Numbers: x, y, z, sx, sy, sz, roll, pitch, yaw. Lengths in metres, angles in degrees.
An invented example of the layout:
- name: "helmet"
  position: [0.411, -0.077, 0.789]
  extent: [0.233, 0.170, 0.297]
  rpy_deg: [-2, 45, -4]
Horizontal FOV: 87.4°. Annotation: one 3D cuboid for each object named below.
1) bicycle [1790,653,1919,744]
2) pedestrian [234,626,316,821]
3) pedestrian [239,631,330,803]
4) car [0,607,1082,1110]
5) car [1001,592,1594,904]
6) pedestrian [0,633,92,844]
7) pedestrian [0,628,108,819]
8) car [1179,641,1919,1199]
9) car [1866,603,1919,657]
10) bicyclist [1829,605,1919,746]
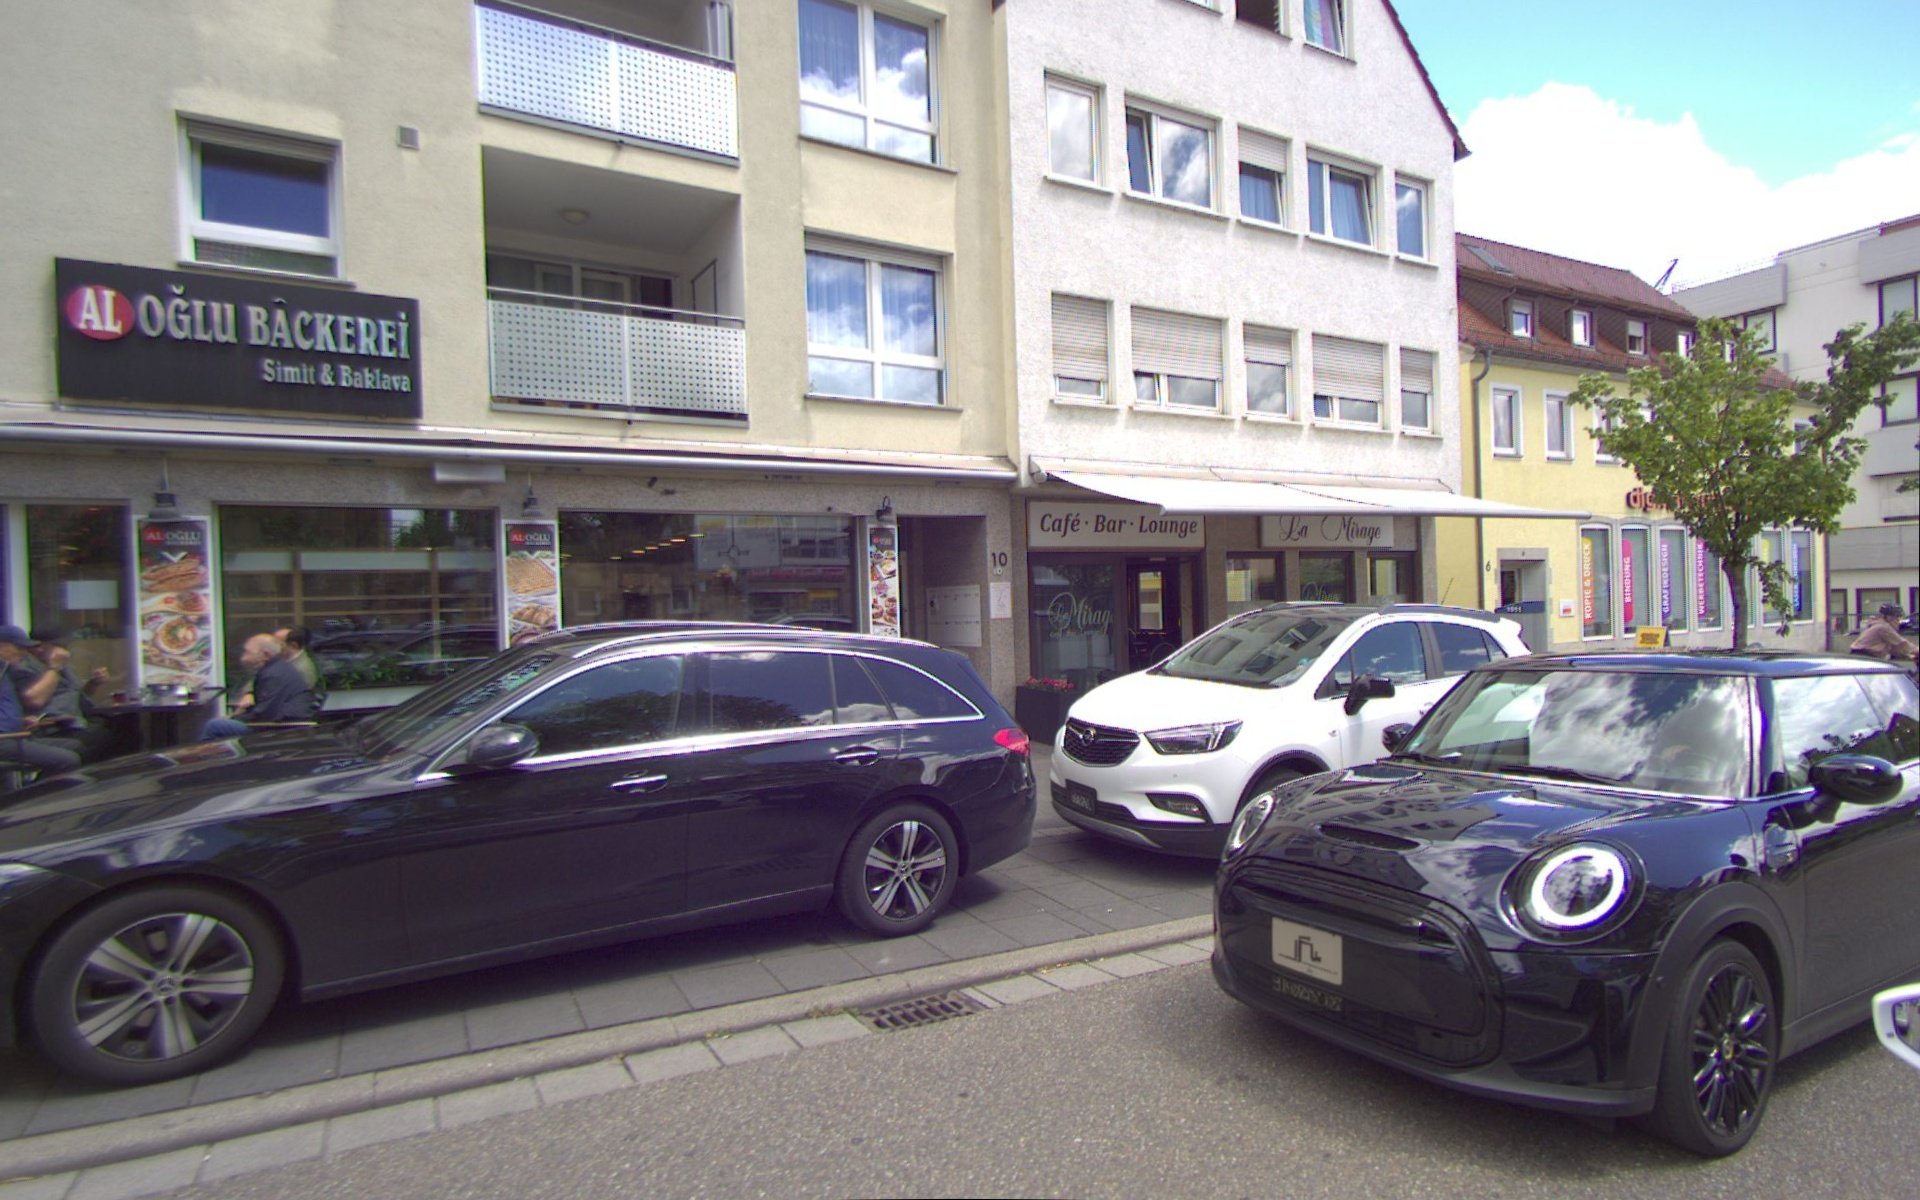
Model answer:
- name: "bicycle"
  position: [11.535, 1.230, 12.624]
  extent: [1.622, 1.102, 0.413]
  rpy_deg: [-2, -2, 24]
- name: "pedestrian"
  position: [-4.855, 0.847, 7.137]
  extent: [0.449, 1.317, 0.419]
  rpy_deg: [0, 0, -31]
- name: "pedestrian"
  position: [-5.224, 0.878, 7.791]
  extent: [0.560, 1.266, 0.425]
  rpy_deg: [0, 0, -31]
- name: "car"
  position: [-1.711, 0.827, 4.881]
  extent: [4.468, 1.470, 1.828]
  rpy_deg: [2, 0, -34]
- name: "car"
  position: [2.462, 0.810, 7.105]
  extent: [4.083, 1.668, 1.658]
  rpy_deg: [1, 0, -29]
- name: "pedestrian"
  position: [-6.023, 0.861, 6.430]
  extent: [0.592, 1.284, 0.547]
  rpy_deg: [1, 0, -31]
- name: "pedestrian"
  position: [-6.318, 0.835, 7.013]
  extent: [0.494, 1.266, 0.393]
  rpy_deg: [0, 0, -31]
- name: "car"
  position: [2.800, 0.883, 4.122]
  extent: [3.586, 1.406, 1.599]
  rpy_deg: [1, -3, -30]
- name: "car"
  position: [29.200, 0.892, 29.466]
  extent: [1.650, 1.579, 3.607]
  rpy_deg: [0, 0, -32]
- name: "bicyclist"
  position: [11.552, 0.940, 12.648]
  extent: [0.763, 1.717, 0.509]
  rpy_deg: [-2, -2, 25]
